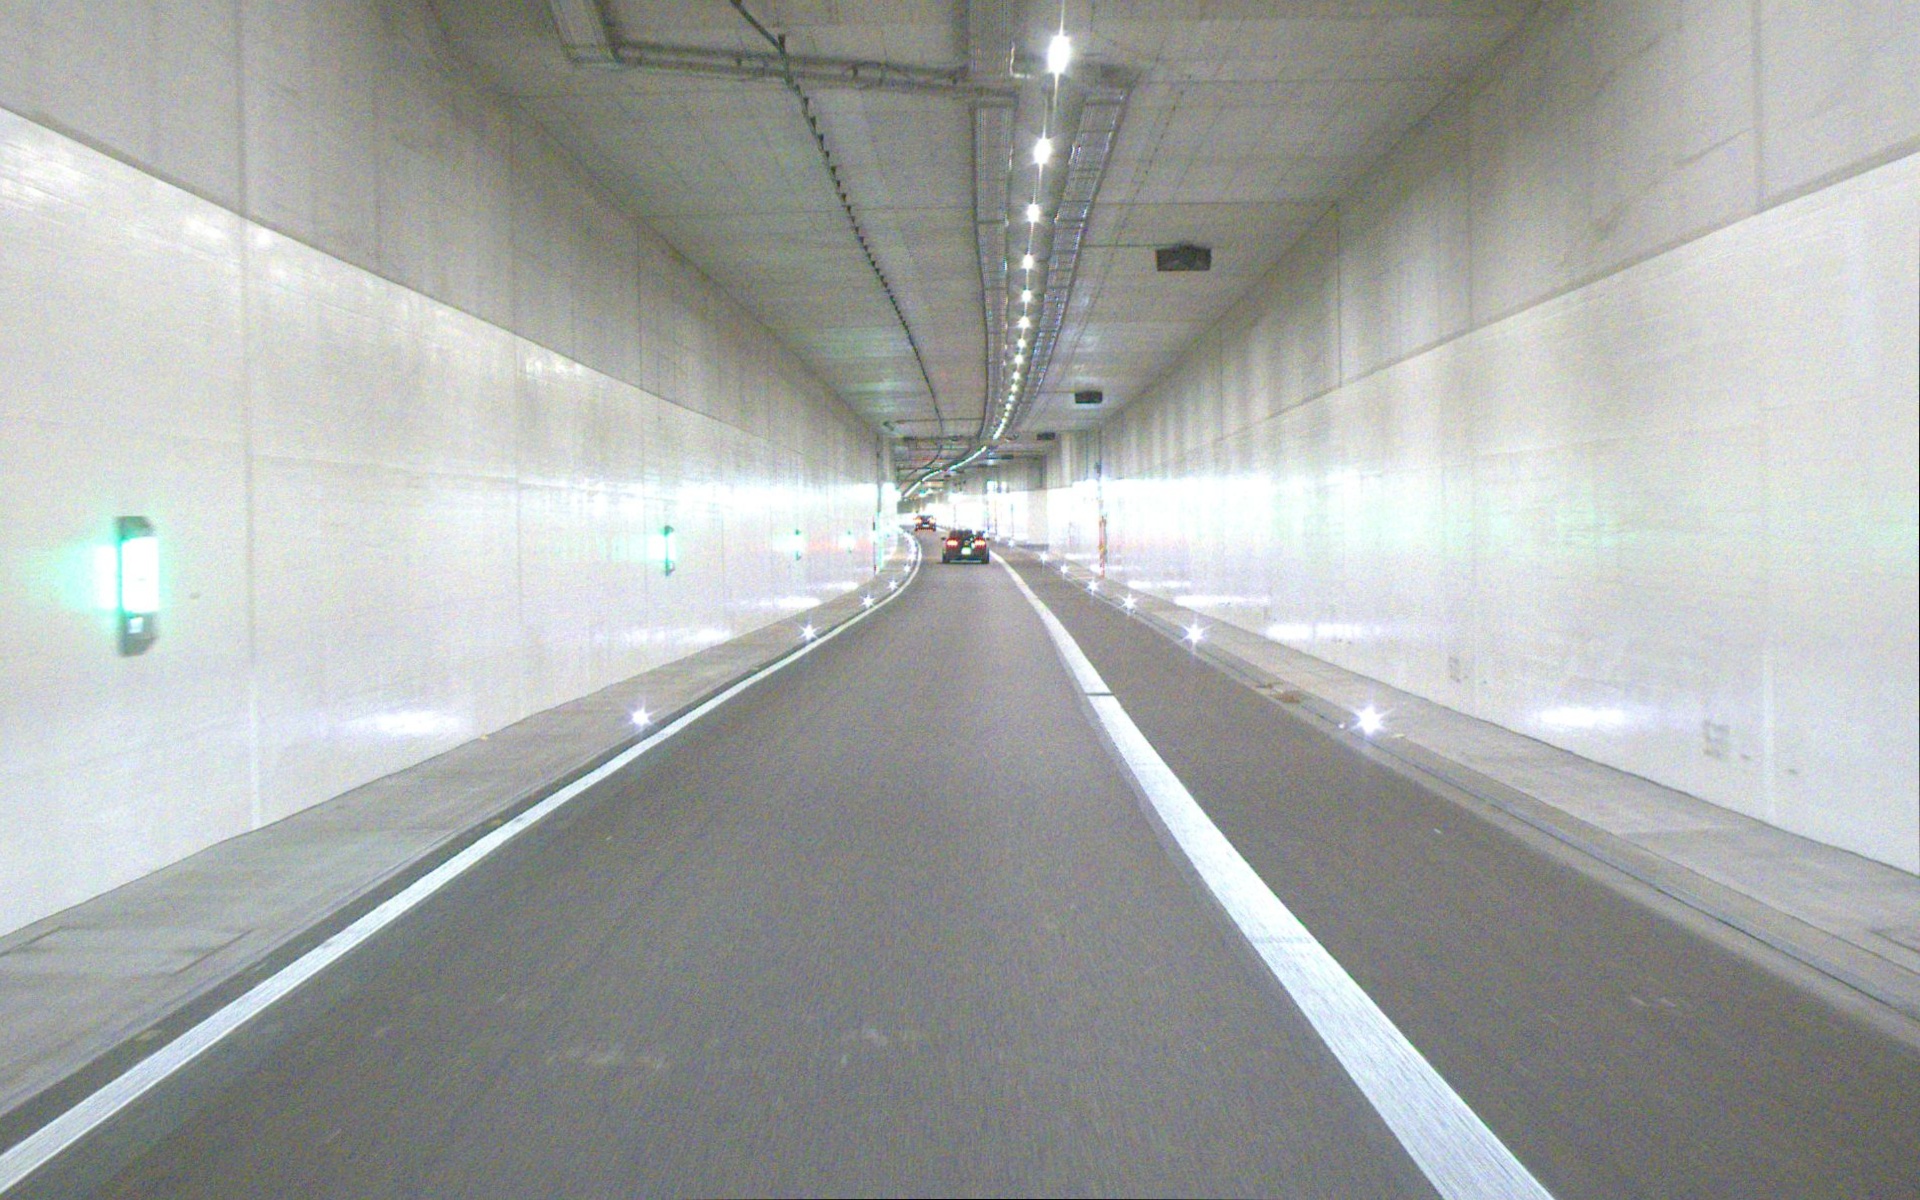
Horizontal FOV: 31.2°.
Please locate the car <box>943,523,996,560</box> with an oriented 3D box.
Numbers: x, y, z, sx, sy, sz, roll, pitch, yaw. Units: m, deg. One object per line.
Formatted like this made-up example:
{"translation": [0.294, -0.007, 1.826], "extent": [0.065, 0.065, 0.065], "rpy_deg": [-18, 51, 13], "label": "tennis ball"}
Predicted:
{"translation": [0.375, -2.391, 139.950], "extent": [1.993, 1.415, 4.001], "rpy_deg": [2, 1, -2], "label": "car"}
